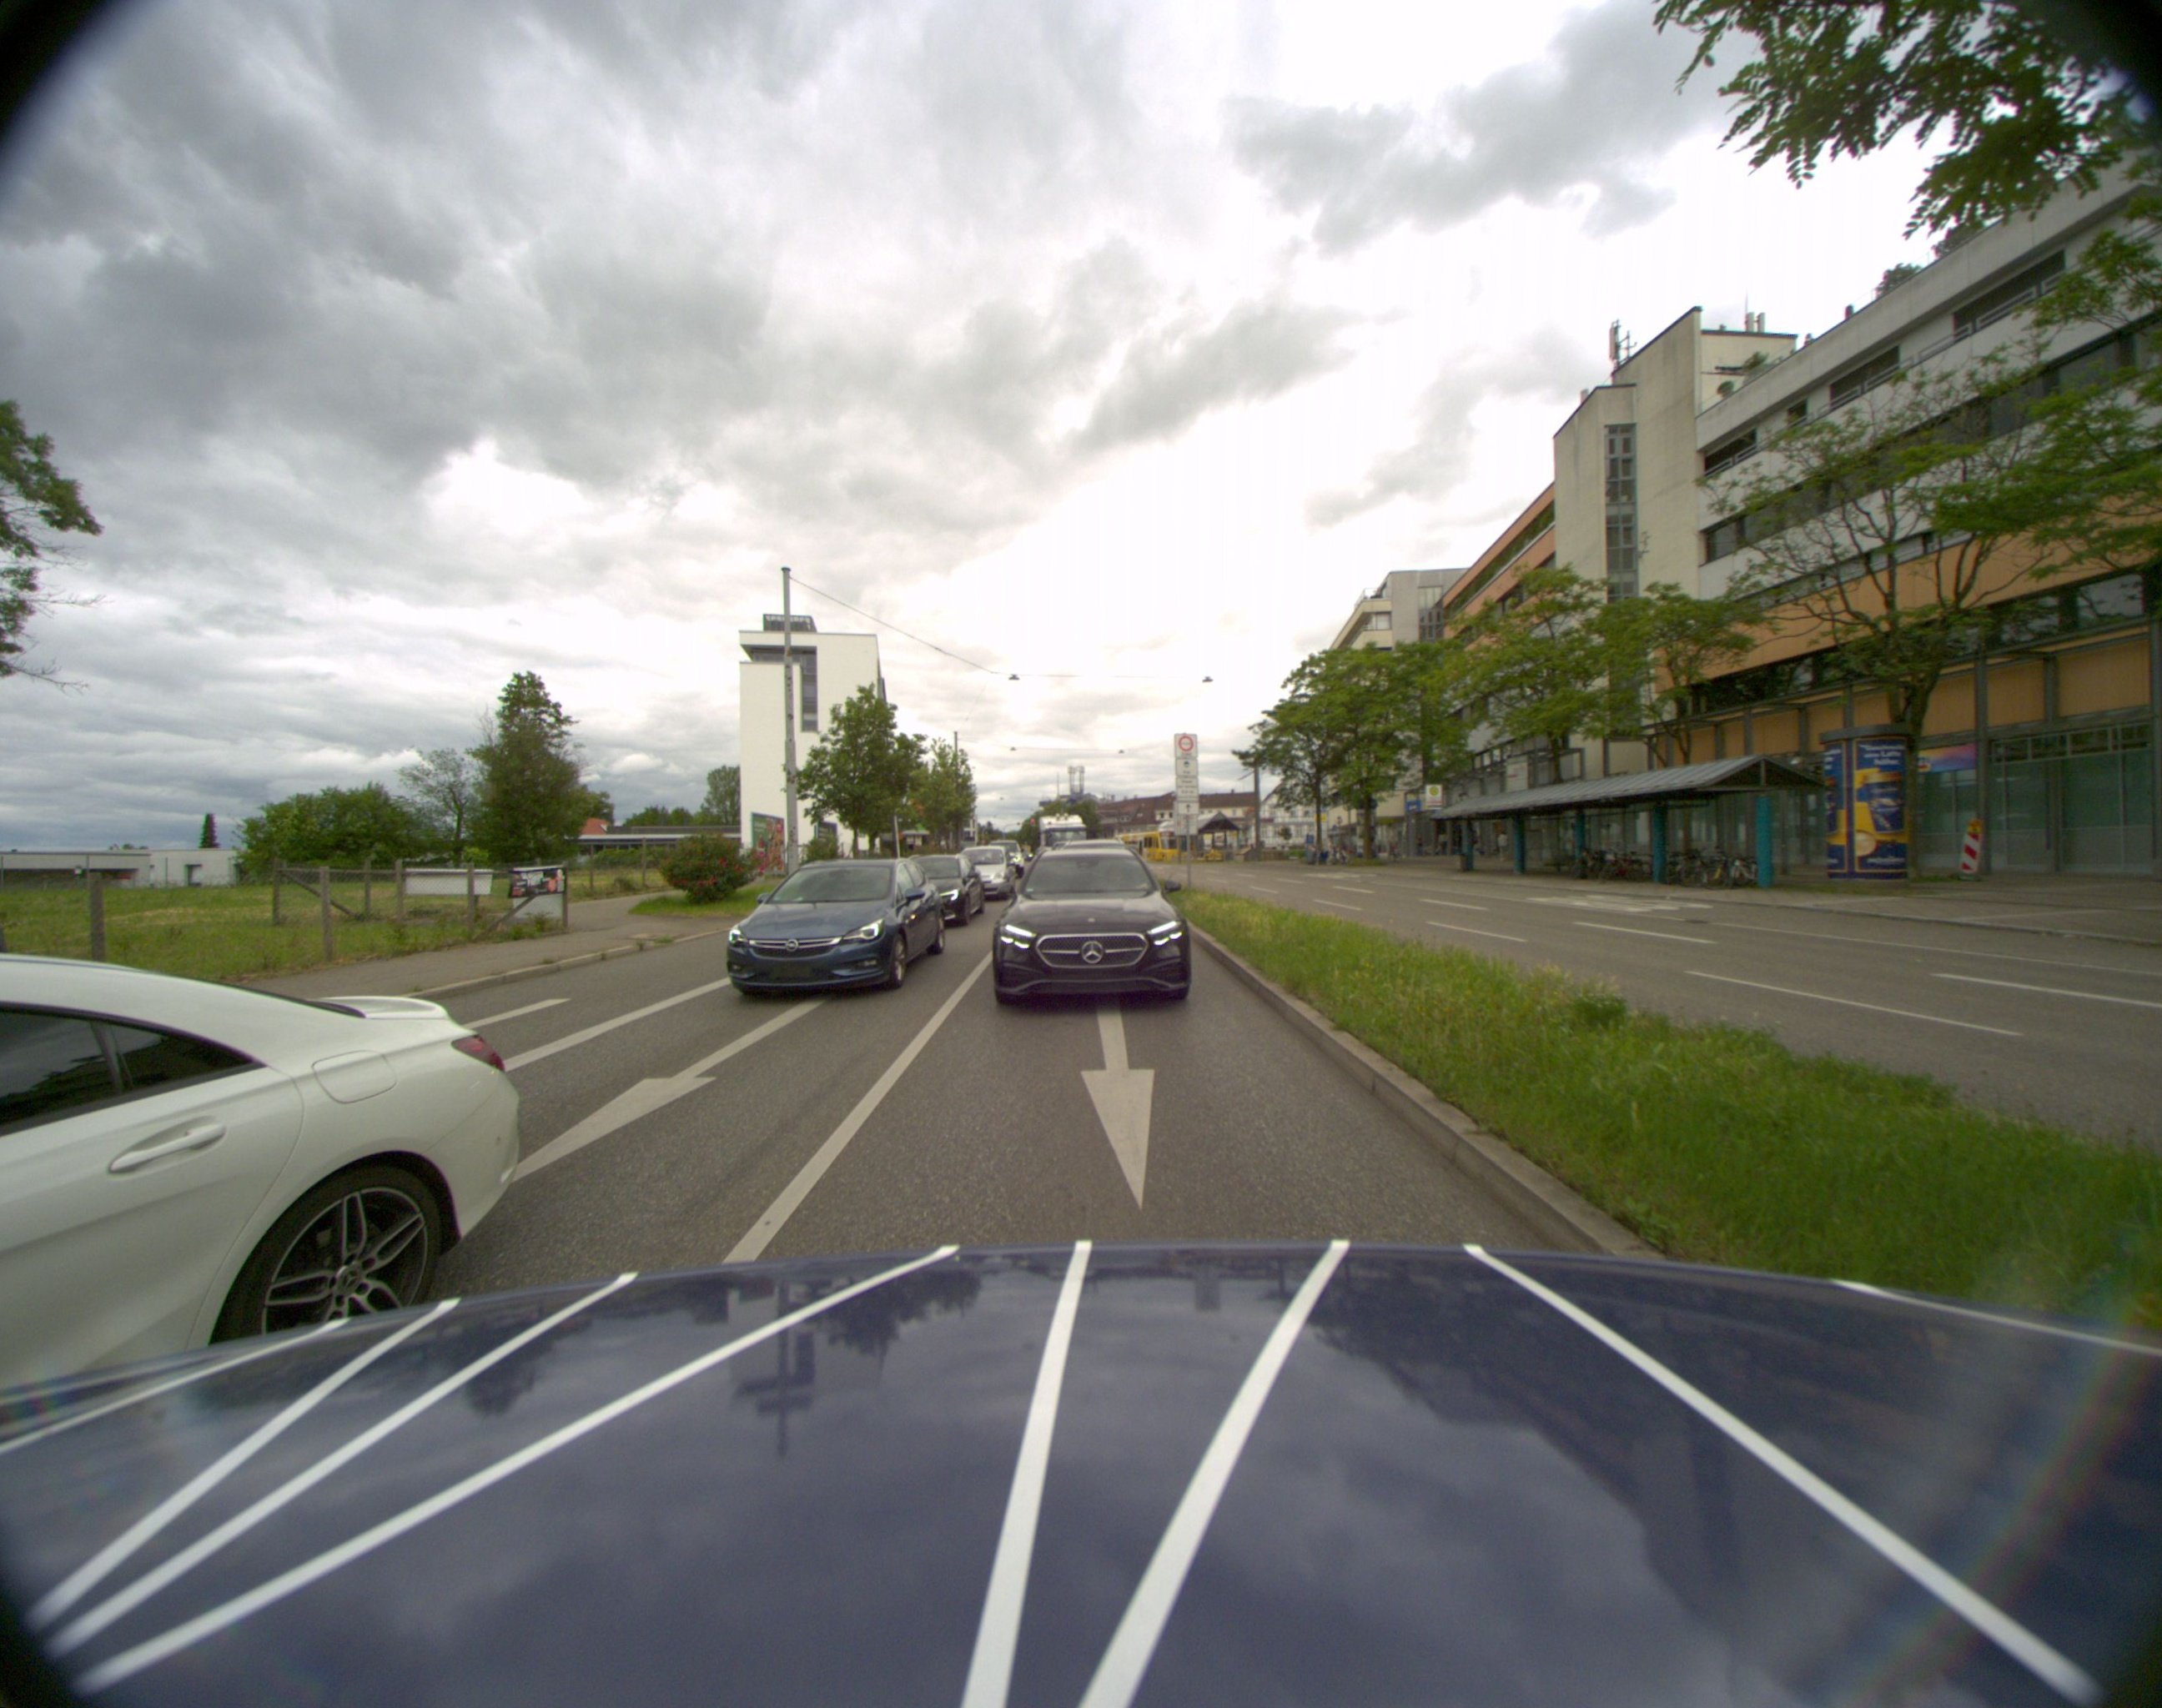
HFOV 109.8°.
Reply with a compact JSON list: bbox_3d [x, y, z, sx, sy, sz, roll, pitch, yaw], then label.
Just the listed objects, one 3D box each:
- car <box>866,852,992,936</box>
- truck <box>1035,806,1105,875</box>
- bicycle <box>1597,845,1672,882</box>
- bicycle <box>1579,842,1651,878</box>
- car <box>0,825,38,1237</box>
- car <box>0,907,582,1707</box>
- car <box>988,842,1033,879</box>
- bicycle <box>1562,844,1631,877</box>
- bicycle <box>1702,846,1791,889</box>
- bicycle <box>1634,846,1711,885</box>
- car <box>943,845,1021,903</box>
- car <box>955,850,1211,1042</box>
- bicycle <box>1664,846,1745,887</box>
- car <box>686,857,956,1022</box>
[{"bbox_3d":[-3.119,0.749,16.485,1.798,1.464,4.309,-1,1,1],"label":"car"},{"bbox_3d":[-0.723,-0.678,40.141,3.120,3.209,6.520,-2,1,-5],"label":"truck"},{"bbox_3d":[18.128,0.302,24.899,2.069,1.084,0.542,-2,2,-1],"label":"bicycle"},{"bbox_3d":[18.237,0.200,25.960,2.069,1.132,0.542,-2,2,-1],"label":"bicycle"},{"bbox_3d":[-5.845,0.869,1.077,2.016,1.877,4.872,-1,1,-2],"label":"car"},{"bbox_3d":[-3.063,1.021,0.870,1.798,1.464,4.698,-1,1,1],"label":"car"},{"bbox_3d":[-3.518,0.305,38.594,2.021,1.760,3.998,-1,1,-2],"label":"car"},{"bbox_3d":[18.213,0.224,26.876,2.069,1.084,0.542,-2,2,-1],"label":"bicycle"},{"bbox_3d":[18.836,0.375,21.514,2.206,1.084,0.542,-3,2,-6],"label":"bicycle"},{"bbox_3d":[18.216,0.350,23.390,2.070,1.084,0.542,-3,2,-6],"label":"bicycle"},{"bbox_3d":[-2.981,0.552,23.771,1.798,1.590,4.309,-1,1,1],"label":"car"},{"bbox_3d":[0.065,0.740,8.655,2.058,1.477,4.972,-1,1,1],"label":"car"},{"bbox_3d":[18.510,0.362,22.568,2.070,1.132,0.542,-3,2,-6],"label":"bicycle"},{"bbox_3d":[-2.854,0.834,9.456,1.798,1.464,4.309,-1,1,1],"label":"car"}]
